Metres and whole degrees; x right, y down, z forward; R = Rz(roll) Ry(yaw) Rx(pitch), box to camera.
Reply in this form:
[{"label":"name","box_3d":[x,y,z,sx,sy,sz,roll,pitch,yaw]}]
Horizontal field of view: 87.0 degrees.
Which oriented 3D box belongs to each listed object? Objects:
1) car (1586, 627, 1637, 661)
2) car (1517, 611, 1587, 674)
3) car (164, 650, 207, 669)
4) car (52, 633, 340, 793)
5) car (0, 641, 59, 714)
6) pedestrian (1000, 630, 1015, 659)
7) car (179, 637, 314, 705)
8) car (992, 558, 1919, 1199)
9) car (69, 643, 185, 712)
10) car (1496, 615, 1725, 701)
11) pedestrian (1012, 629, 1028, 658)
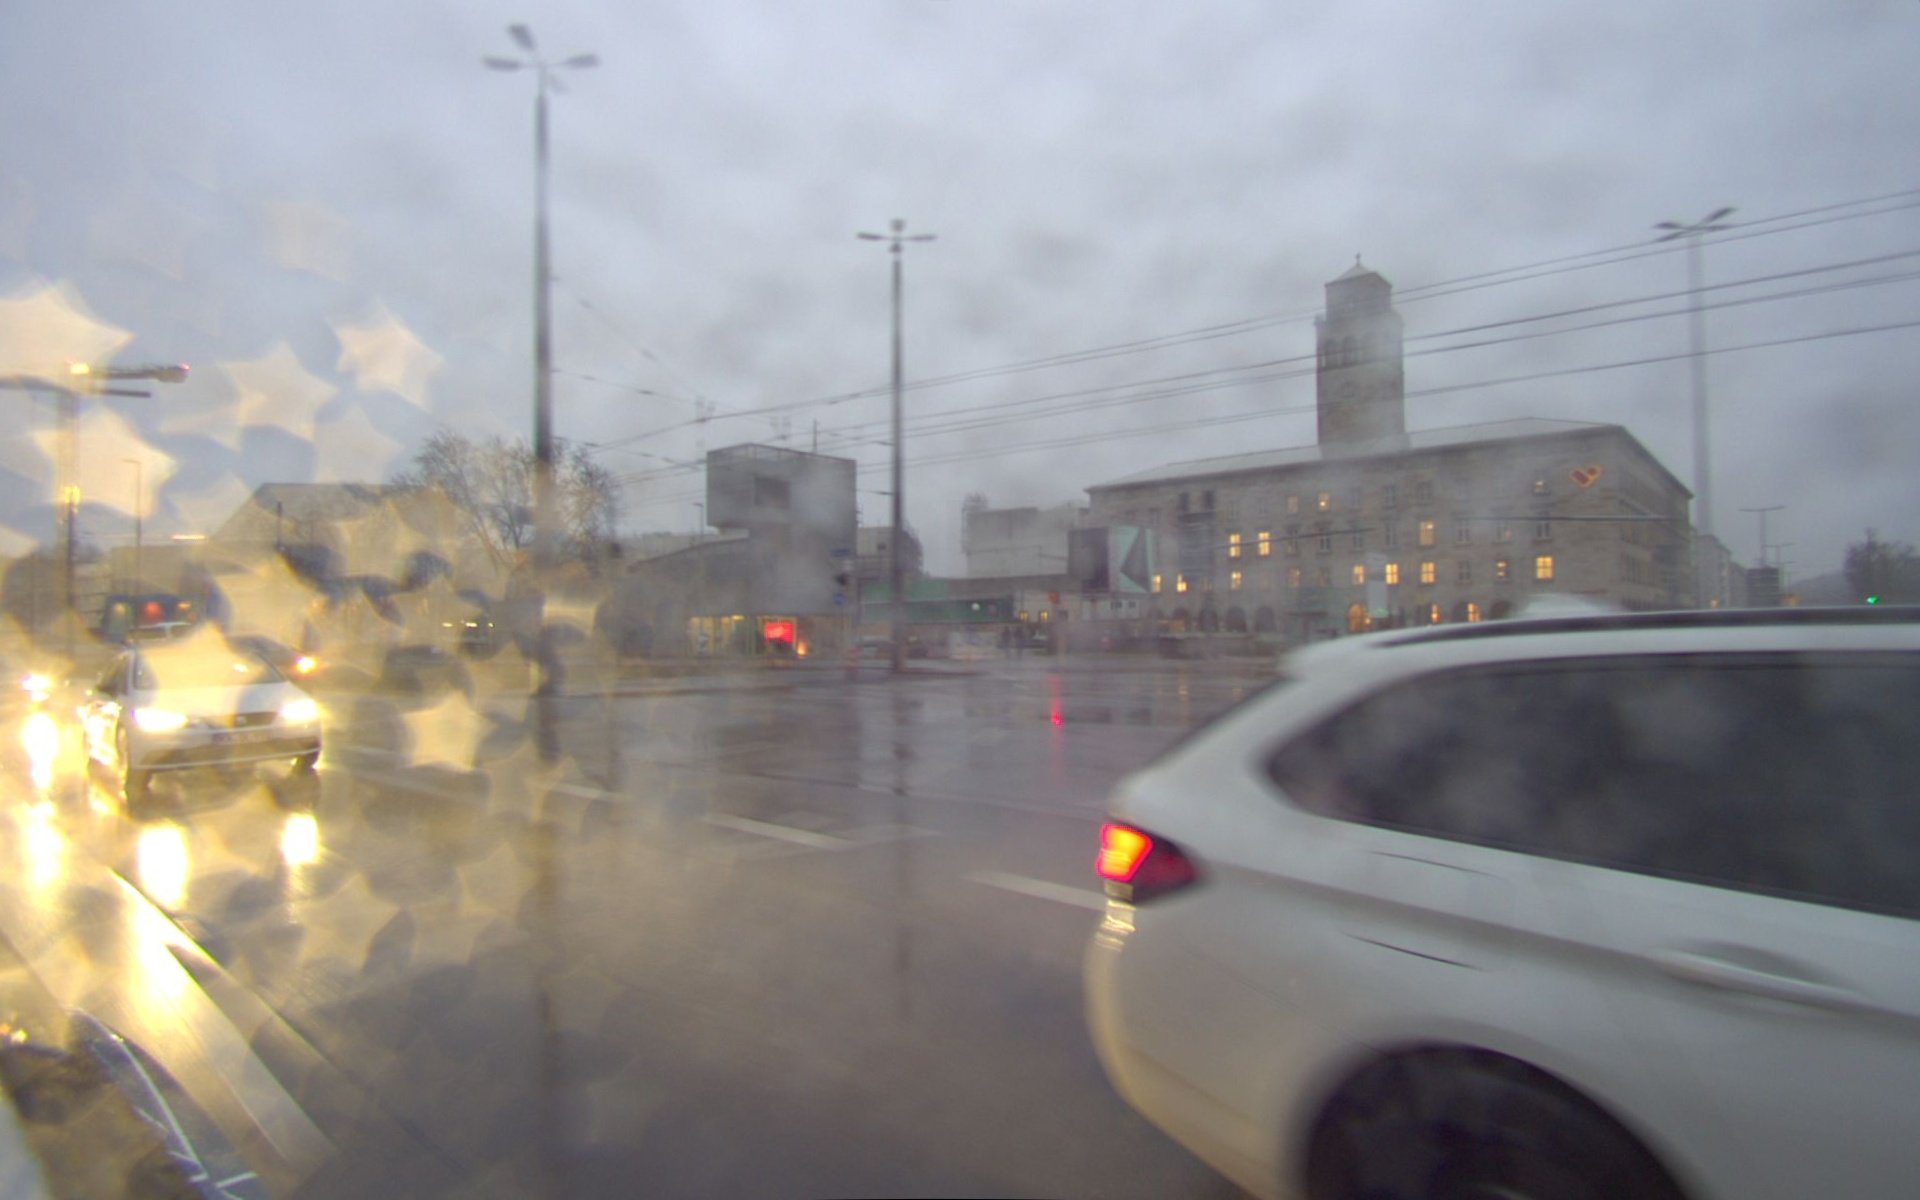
[{"label":"car","box_3d":[39.806,2.675,61.821,1.999,1.893,4.380,-3,-1,40]},{"label":"car","box_3d":[27.596,1.937,47.149,1.999,2.732,4.380,-3,-1,40]},{"label":"car","box_3d":[-62.434,4.782,81.546,3.875,1.430,1.764,-2,-1,36]},{"label":"car","box_3d":[-8.966,1.193,11.751,4.136,1.484,1.791,-3,-2,40]},{"label":"car","box_3d":[-24.211,1.915,25.208,3.995,1.695,1.974,-2,-1,38]},{"label":"pedestrian","box_3d":[2.738,2.552,58.338,0.645,1.678,0.743,0,-2,-17]},{"label":"car","box_3d":[-18.425,1.807,26.088,3.923,1.541,1.778,-3,-1,38]},{"label":"car","box_3d":[2.516,0.649,1.423,4.946,1.476,1.832,-3,-1,43]},{"label":"car","box_3d":[-25.600,2.355,31.074,3.995,1.896,1.929,-3,-1,38]},{"label":"car","box_3d":[16.633,1.486,26.230,4.770,2.029,1.981,-2,-1,29]},{"label":"pedestrian","box_3d":[3.458,2.492,58.415,0.645,1.674,0.743,0,-2,-17]}]
